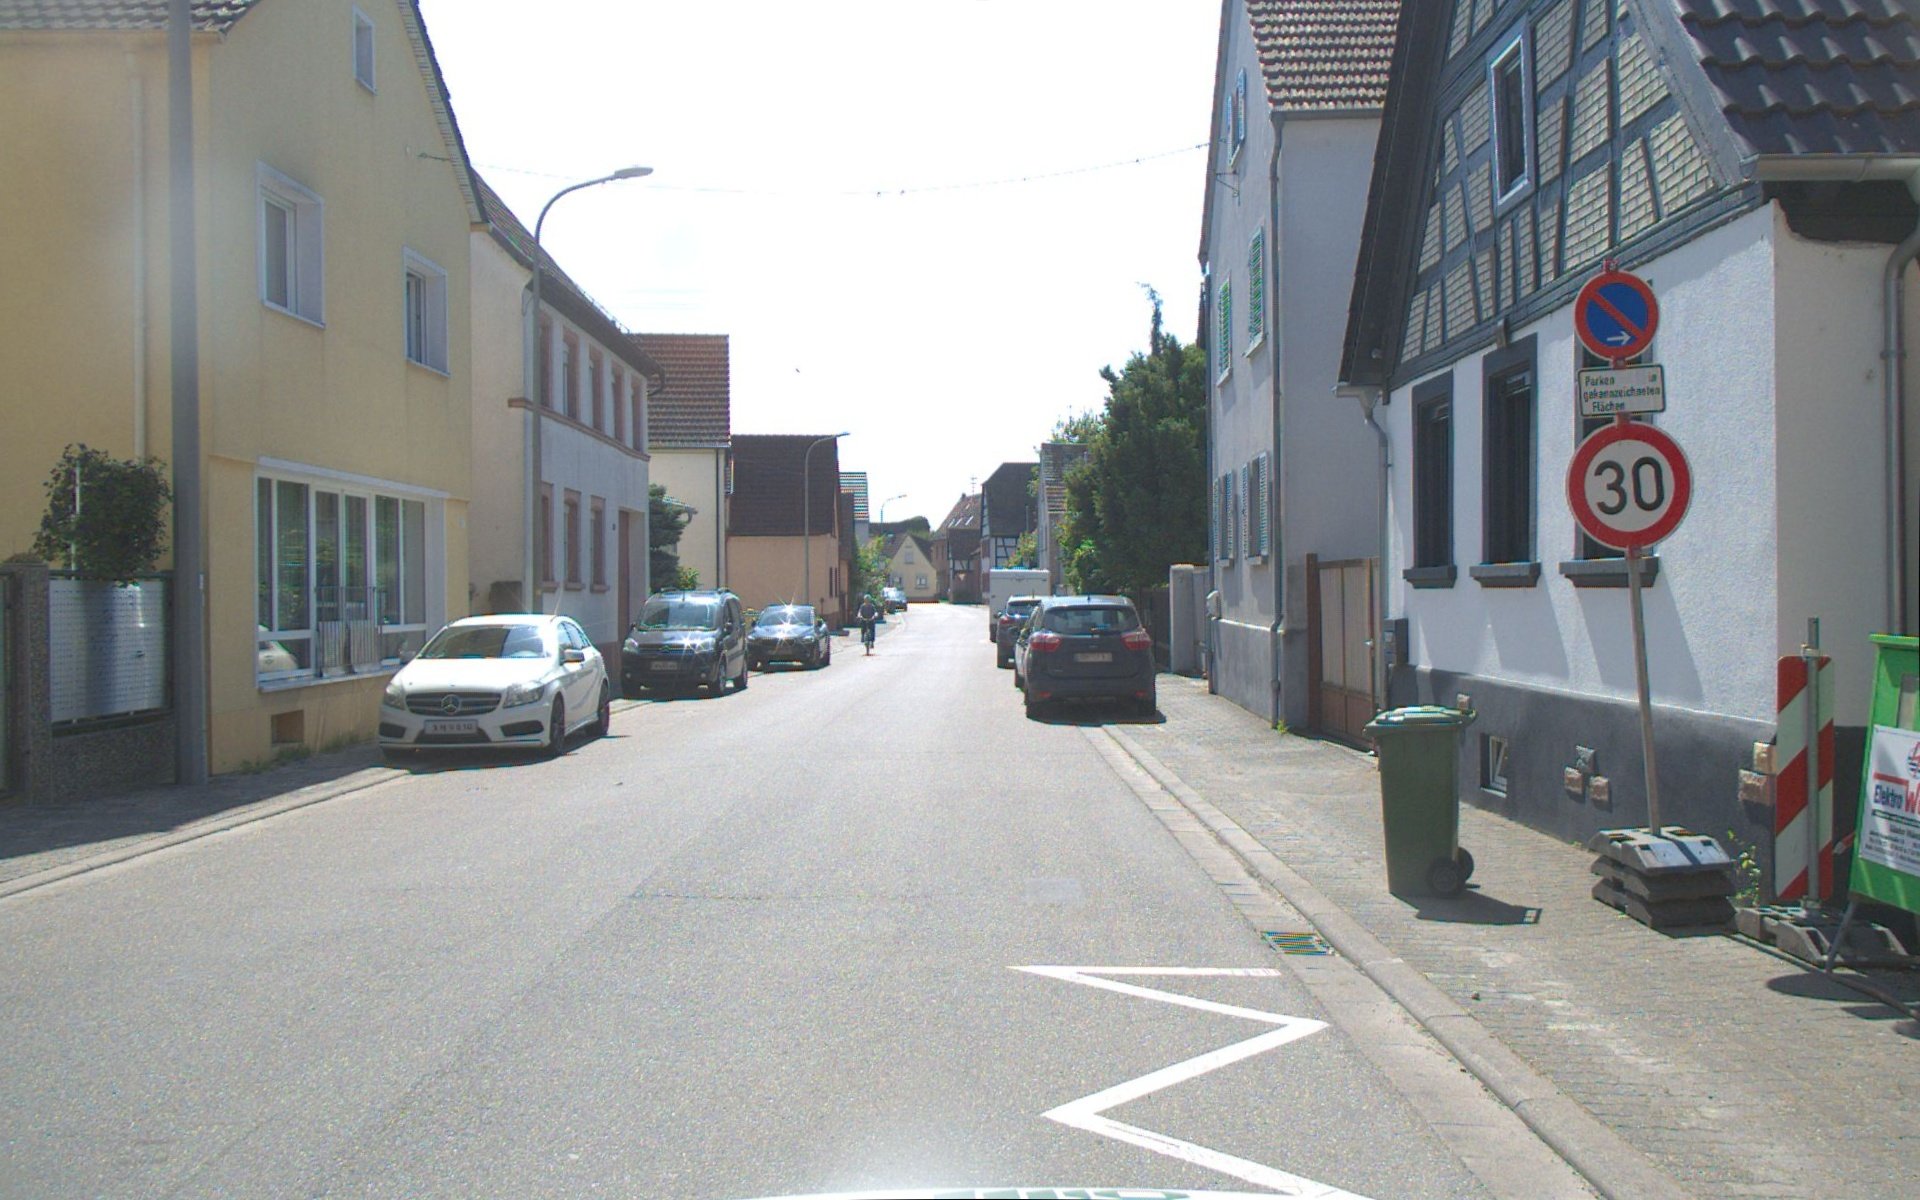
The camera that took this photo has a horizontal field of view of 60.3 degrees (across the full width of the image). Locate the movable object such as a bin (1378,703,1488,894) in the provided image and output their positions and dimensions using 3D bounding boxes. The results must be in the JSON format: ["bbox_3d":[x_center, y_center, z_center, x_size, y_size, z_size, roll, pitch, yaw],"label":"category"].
[{"bbox_3d":[2.485,1.022,8.675,0.526,0.929,0.552,-1,0,18],"label":"movable object such as a bin"}]

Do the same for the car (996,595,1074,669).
[{"bbox_3d":[1.865,0.729,40.126,1.756,1.659,4.363,-1,0,4],"label":"car"}]

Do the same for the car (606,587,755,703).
[{"bbox_3d":[-4.908,0.748,29.636,1.797,1.869,4.354,-2,0,1],"label":"car"}]

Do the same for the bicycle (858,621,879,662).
[{"bbox_3d":[-2.767,1.250,50.205,0.577,1.168,1.947,-2,0,-3],"label":"bicycle"}]

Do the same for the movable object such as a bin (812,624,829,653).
[{"bbox_3d":[-4.776,1.320,56.589,0.528,0.966,0.553,0,0,0],"label":"movable object such as a bin"}]

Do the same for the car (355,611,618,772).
[{"bbox_3d":[-5.052,0.906,18.240,1.798,1.489,4.268,-2,0,-3],"label":"car"}]

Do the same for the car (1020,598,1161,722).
[{"bbox_3d":[1.784,0.783,23.876,1.760,1.587,4.632,-1,0,1],"label":"car"}]

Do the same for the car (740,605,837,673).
[{"bbox_3d":[-4.253,0.934,41.623,1.806,1.553,4.766,-1,0,1],"label":"car"}]

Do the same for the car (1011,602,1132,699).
[{"bbox_3d":[1.883,0.827,29.174,1.782,1.535,4.581,-1,0,0],"label":"car"}]

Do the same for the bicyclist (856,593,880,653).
[{"bbox_3d":[-2.805,0.700,50.310,0.690,1.802,0.624,-1,0,-3],"label":"bicyclist"}]

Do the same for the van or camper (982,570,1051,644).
[{"bbox_3d":[2.133,0.270,64.225,2.470,2.744,4.555,-1,0,0],"label":"van or camper"}]
